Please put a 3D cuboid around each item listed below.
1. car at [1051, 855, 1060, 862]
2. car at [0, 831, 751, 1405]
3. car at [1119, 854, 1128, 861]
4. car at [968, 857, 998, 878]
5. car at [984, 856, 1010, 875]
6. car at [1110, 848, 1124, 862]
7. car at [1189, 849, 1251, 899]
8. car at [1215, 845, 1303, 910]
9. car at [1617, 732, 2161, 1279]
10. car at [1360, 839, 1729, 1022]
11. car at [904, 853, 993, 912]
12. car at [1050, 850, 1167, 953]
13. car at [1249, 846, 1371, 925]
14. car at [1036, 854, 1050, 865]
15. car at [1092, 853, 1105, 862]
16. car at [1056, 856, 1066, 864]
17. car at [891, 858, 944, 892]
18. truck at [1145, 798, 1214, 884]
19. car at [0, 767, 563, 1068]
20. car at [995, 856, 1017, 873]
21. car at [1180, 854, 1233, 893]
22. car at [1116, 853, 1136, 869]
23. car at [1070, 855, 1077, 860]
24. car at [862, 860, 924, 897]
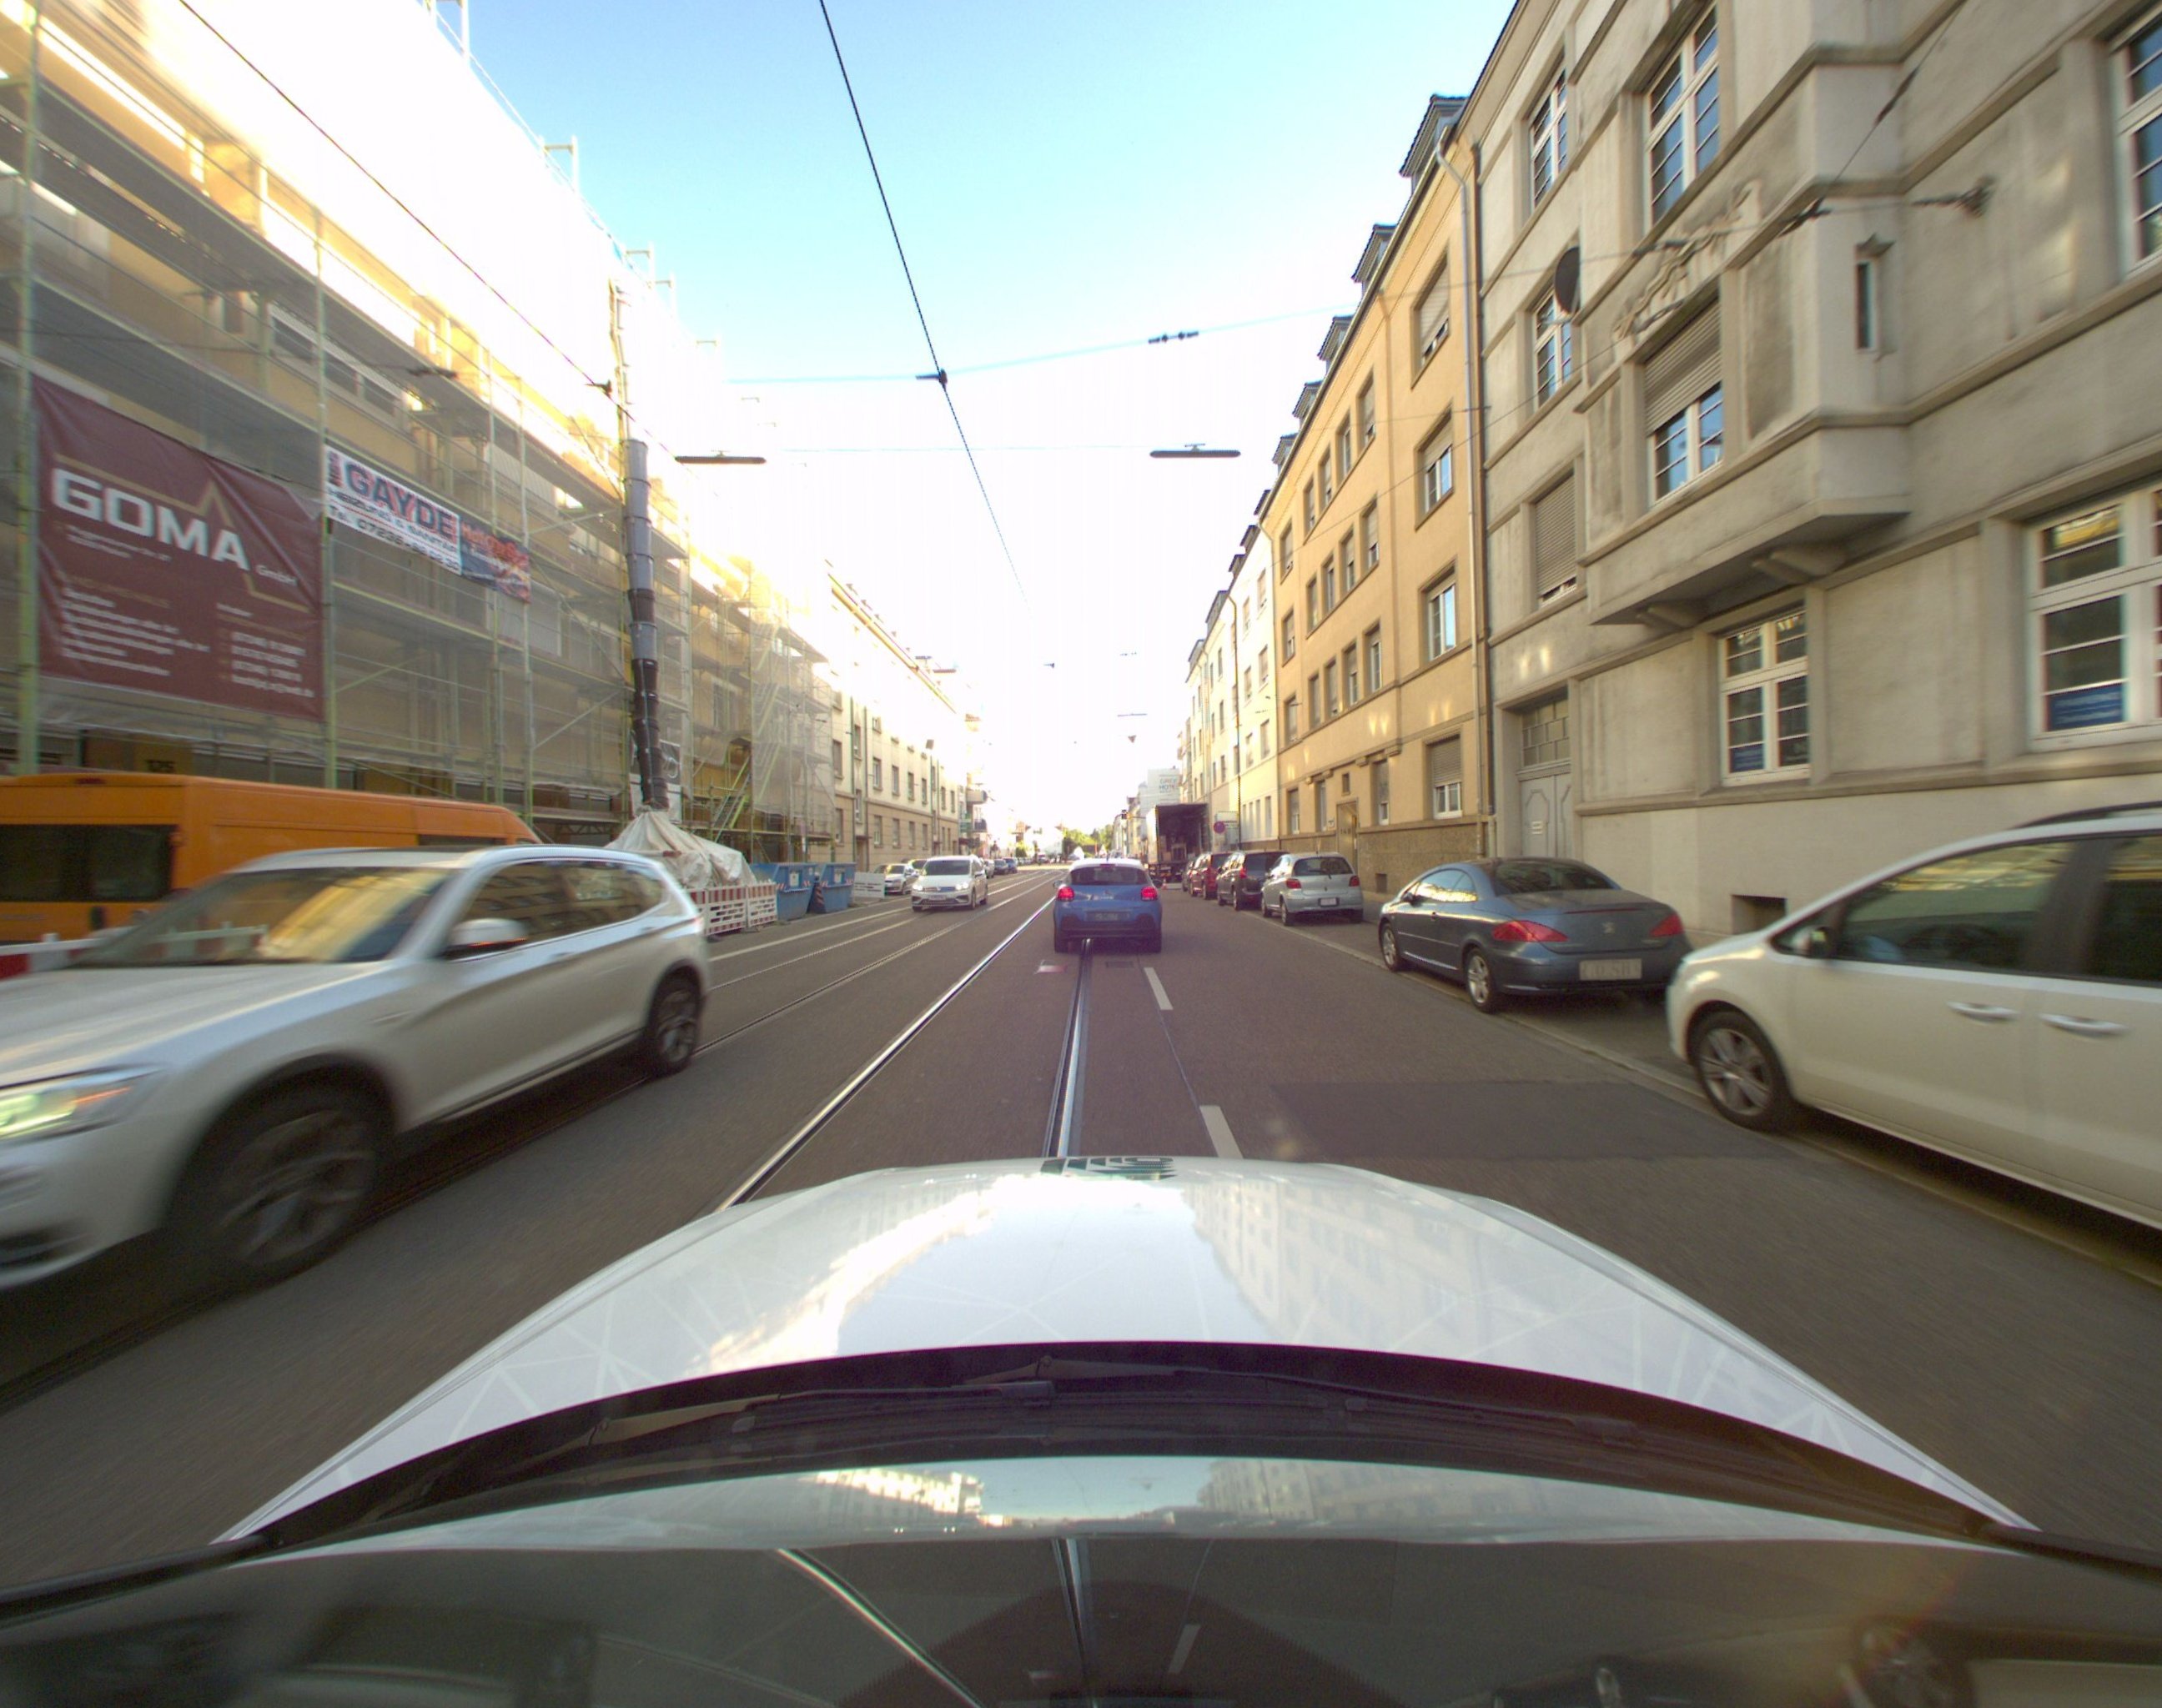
[{"bbox_3d":[-5.530,0.947,177.316,1.759,1.486,4.033,-2,0,2],"label":"car"},{"bbox_3d":[-3.763,0.776,4.580,1.819,1.632,4.492,-2,0,2],"label":"car"},{"bbox_3d":[8.725,0.717,166.193,1.759,1.486,4.033,-2,0,2],"label":"car"},{"bbox_3d":[-7.821,1.056,65.103,1.819,1.632,3.906,-2,0,1],"label":"car"},{"bbox_3d":[-7.733,1.038,75.256,1.819,1.632,3.906,-2,0,1],"label":"car"},{"bbox_3d":[6.034,0.124,137.008,2.211,2.284,4.085,-2,0,2],"label":"car"},{"bbox_3d":[4.928,0.657,29.307,1.658,1.633,3.872,-2,0,2],"label":"car"},{"bbox_3d":[4.978,0.613,23.284,1.658,1.647,4.223,-2,0,2],"label":"car"},{"bbox_3d":[4.467,0.483,3.182,1.724,1.827,4.688,-2,0,2],"label":"car"},{"bbox_3d":[4.612,0.644,8.944,1.716,1.486,4.223,-2,0,2],"label":"car"},{"bbox_3d":[-3.974,0.802,25.206,1.894,1.632,4.268,-2,0,2],"label":"car"},{"bbox_3d":[0.473,0.700,14.107,1.728,1.507,3.994,0,0,2],"label":"car"},{"bbox_3d":[5.029,0.632,18.438,1.658,1.519,4.223,-2,0,2],"label":"car"},{"bbox_3d":[-6.145,0.851,132.852,1.894,1.632,4.268,-2,0,2],"label":"car"},{"bbox_3d":[3.252,0.644,150.680,2.172,1.486,4.161,-2,0,2],"label":"car"},{"bbox_3d":[-3.950,1.096,161.072,1.759,1.486,4.033,-2,0,2],"label":"car"},{"bbox_3d":[-8.361,1.039,41.895,1.708,1.594,4.268,-2,0,2],"label":"car"},{"bbox_3d":[5.198,-0.616,45.083,2.842,4.083,11.278,-2,0,3],"label":"truck"},{"bbox_3d":[-8.633,0.532,9.350,2.138,2.475,4.978,-2,0,-1],"label":"car"},{"bbox_3d":[-7.475,1.041,81.526,1.821,1.632,3.903,-2,0,-1],"label":"car"},{"bbox_3d":[5.128,0.754,33.785,1.658,1.486,4.033,-2,0,2],"label":"car"},{"bbox_3d":[4.286,0.673,78.299,1.759,1.486,4.033,-2,0,2],"label":"car"},{"bbox_3d":[-2.086,0.965,236.673,1.759,1.486,4.033,-2,0,2],"label":"car"},{"bbox_3d":[-8.511,1.084,37.204,1.708,1.518,4.049,-2,0,2],"label":"car"}]
